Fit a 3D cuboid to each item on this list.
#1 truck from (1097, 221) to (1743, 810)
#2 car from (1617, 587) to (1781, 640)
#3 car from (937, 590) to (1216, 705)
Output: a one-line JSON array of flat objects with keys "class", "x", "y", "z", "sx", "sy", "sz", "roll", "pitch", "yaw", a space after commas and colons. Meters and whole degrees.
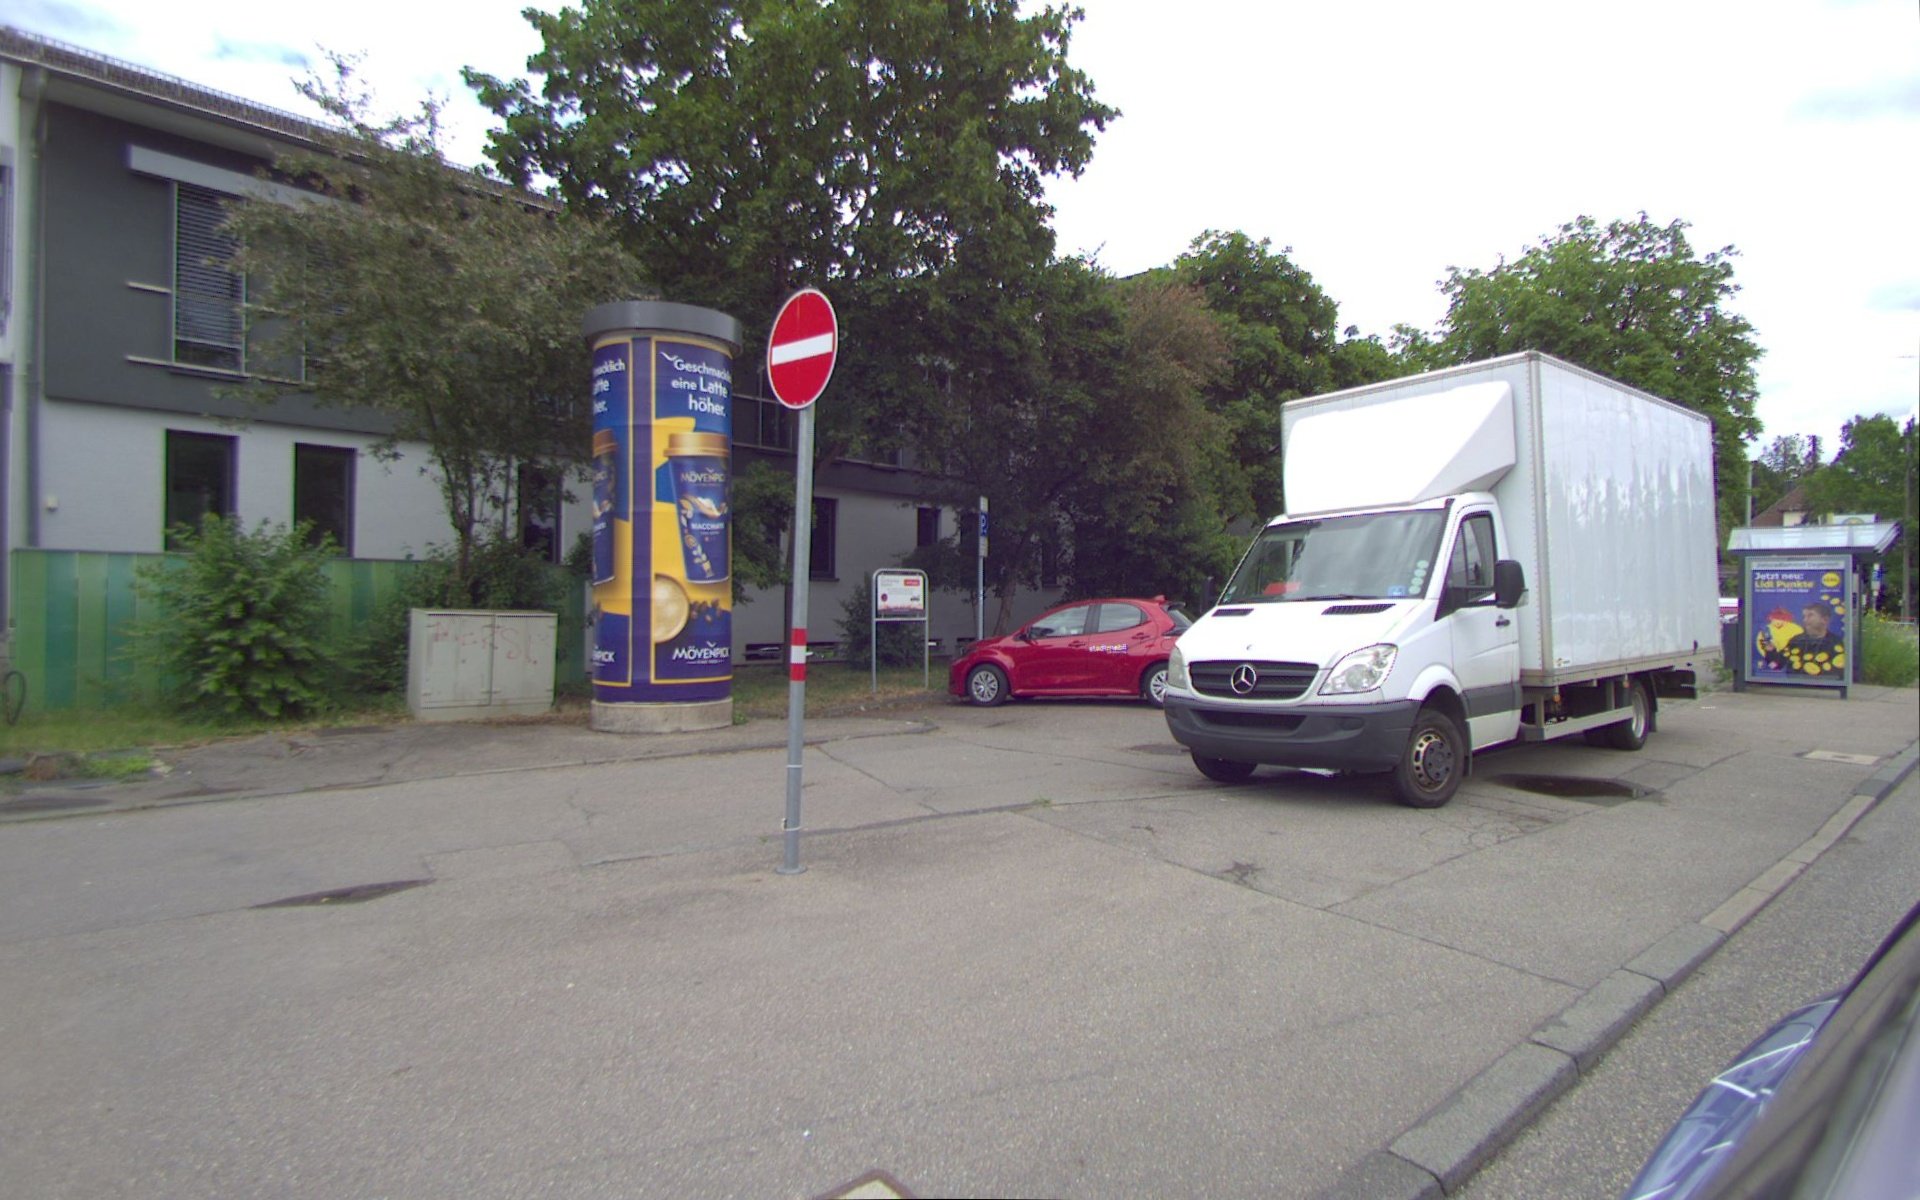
[{"class": "truck", "x": 4.847, "y": -0.512, "z": 9.610, "sx": 7.672, "sy": 3.570, "sz": 2.578, "roll": 0, "pitch": 0, "yaw": -40}, {"class": "car", "x": 26.411, "y": 0.467, "z": 36.256, "sx": 4.602, "sy": 1.771, "sz": 1.853, "roll": 1, "pitch": 0, "yaw": -4}, {"class": "car", "x": 1.664, "y": 0.632, "z": 14.426, "sx": 3.686, "sy": 1.464, "sz": 1.595, "roll": 0, "pitch": -2, "yaw": 23}]
